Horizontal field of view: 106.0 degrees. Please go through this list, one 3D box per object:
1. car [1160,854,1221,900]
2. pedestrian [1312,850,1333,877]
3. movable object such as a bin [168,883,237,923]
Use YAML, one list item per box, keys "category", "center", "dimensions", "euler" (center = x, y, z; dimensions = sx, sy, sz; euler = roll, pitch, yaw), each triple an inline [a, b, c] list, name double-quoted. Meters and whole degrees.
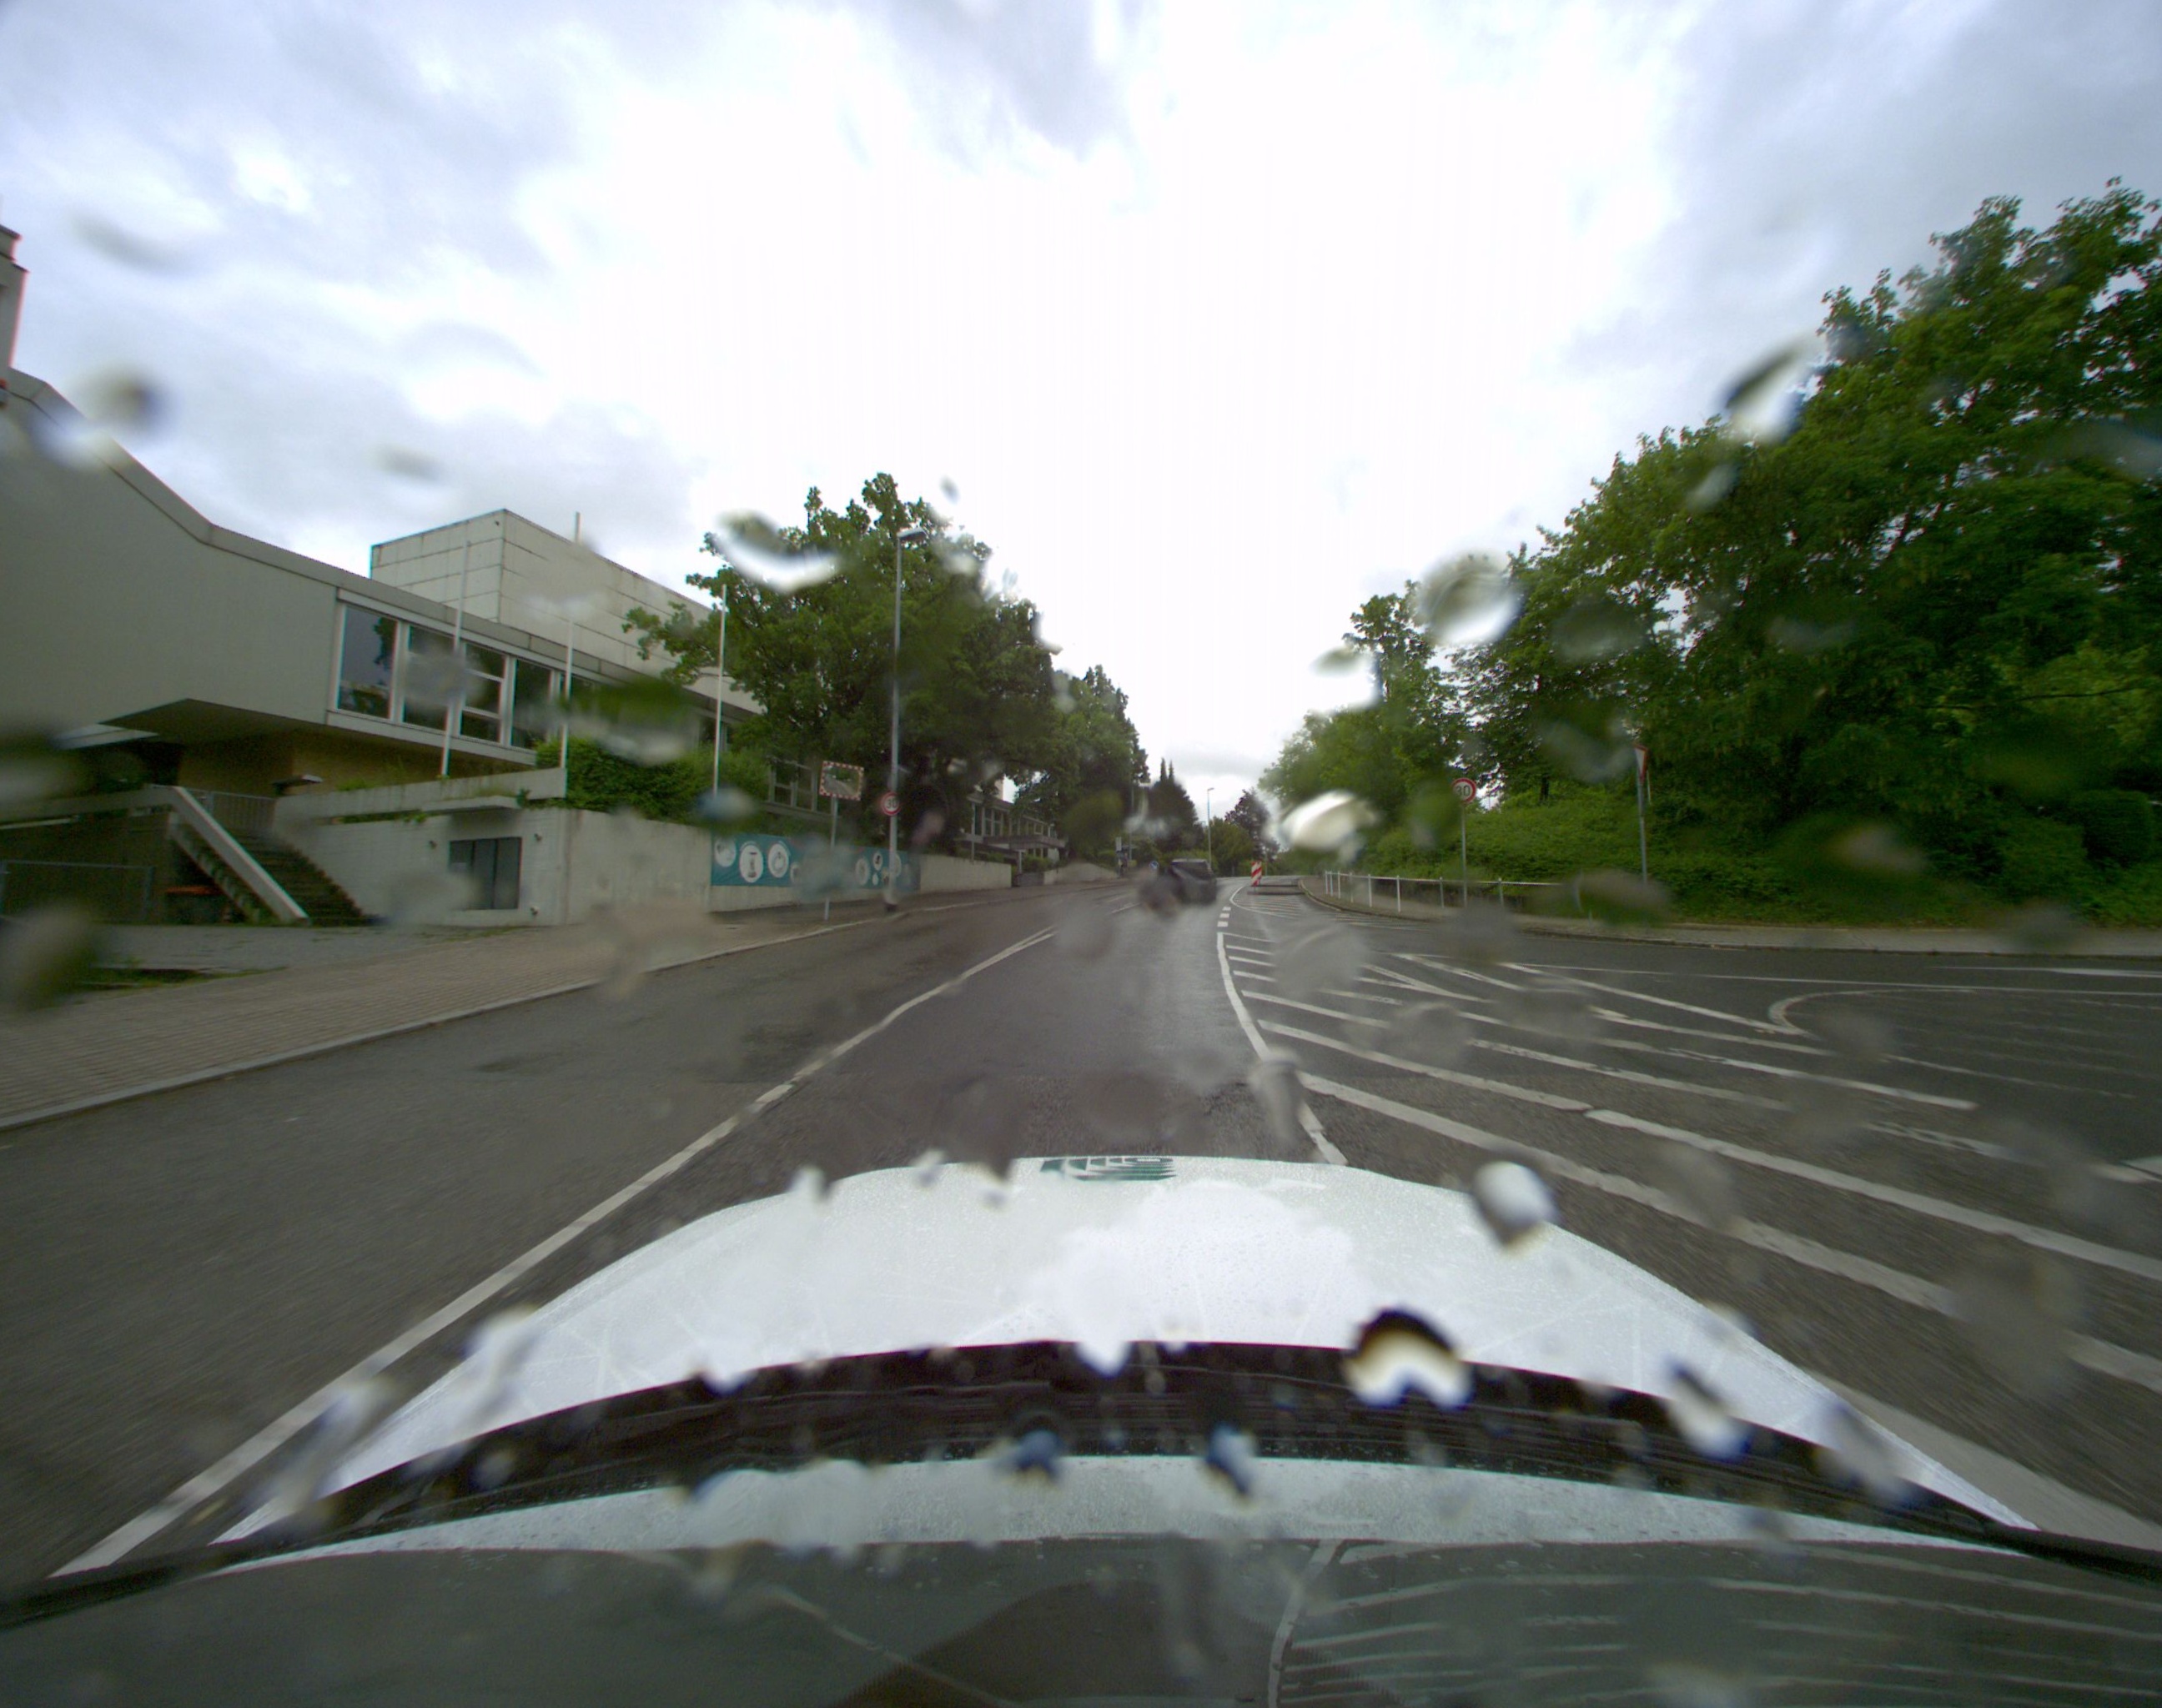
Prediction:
- category: "car"
  center: [4.285, 0.827, 31.397]
  dimensions: [1.915, 1.613, 4.014]
  euler: [1, 0, 13]
- category: "pedestrian"
  center: [15.936, 0.608, 53.772]
  dimensions: [1.077, 1.722, 1.169]
  euler: [-3, -1, 10]
- category: "movable object such as a bin"
  center: [-19.426, 1.084, 18.011]
  dimensions: [1.024, 0.793, 0.606]
  euler: [-3, 0, 17]
